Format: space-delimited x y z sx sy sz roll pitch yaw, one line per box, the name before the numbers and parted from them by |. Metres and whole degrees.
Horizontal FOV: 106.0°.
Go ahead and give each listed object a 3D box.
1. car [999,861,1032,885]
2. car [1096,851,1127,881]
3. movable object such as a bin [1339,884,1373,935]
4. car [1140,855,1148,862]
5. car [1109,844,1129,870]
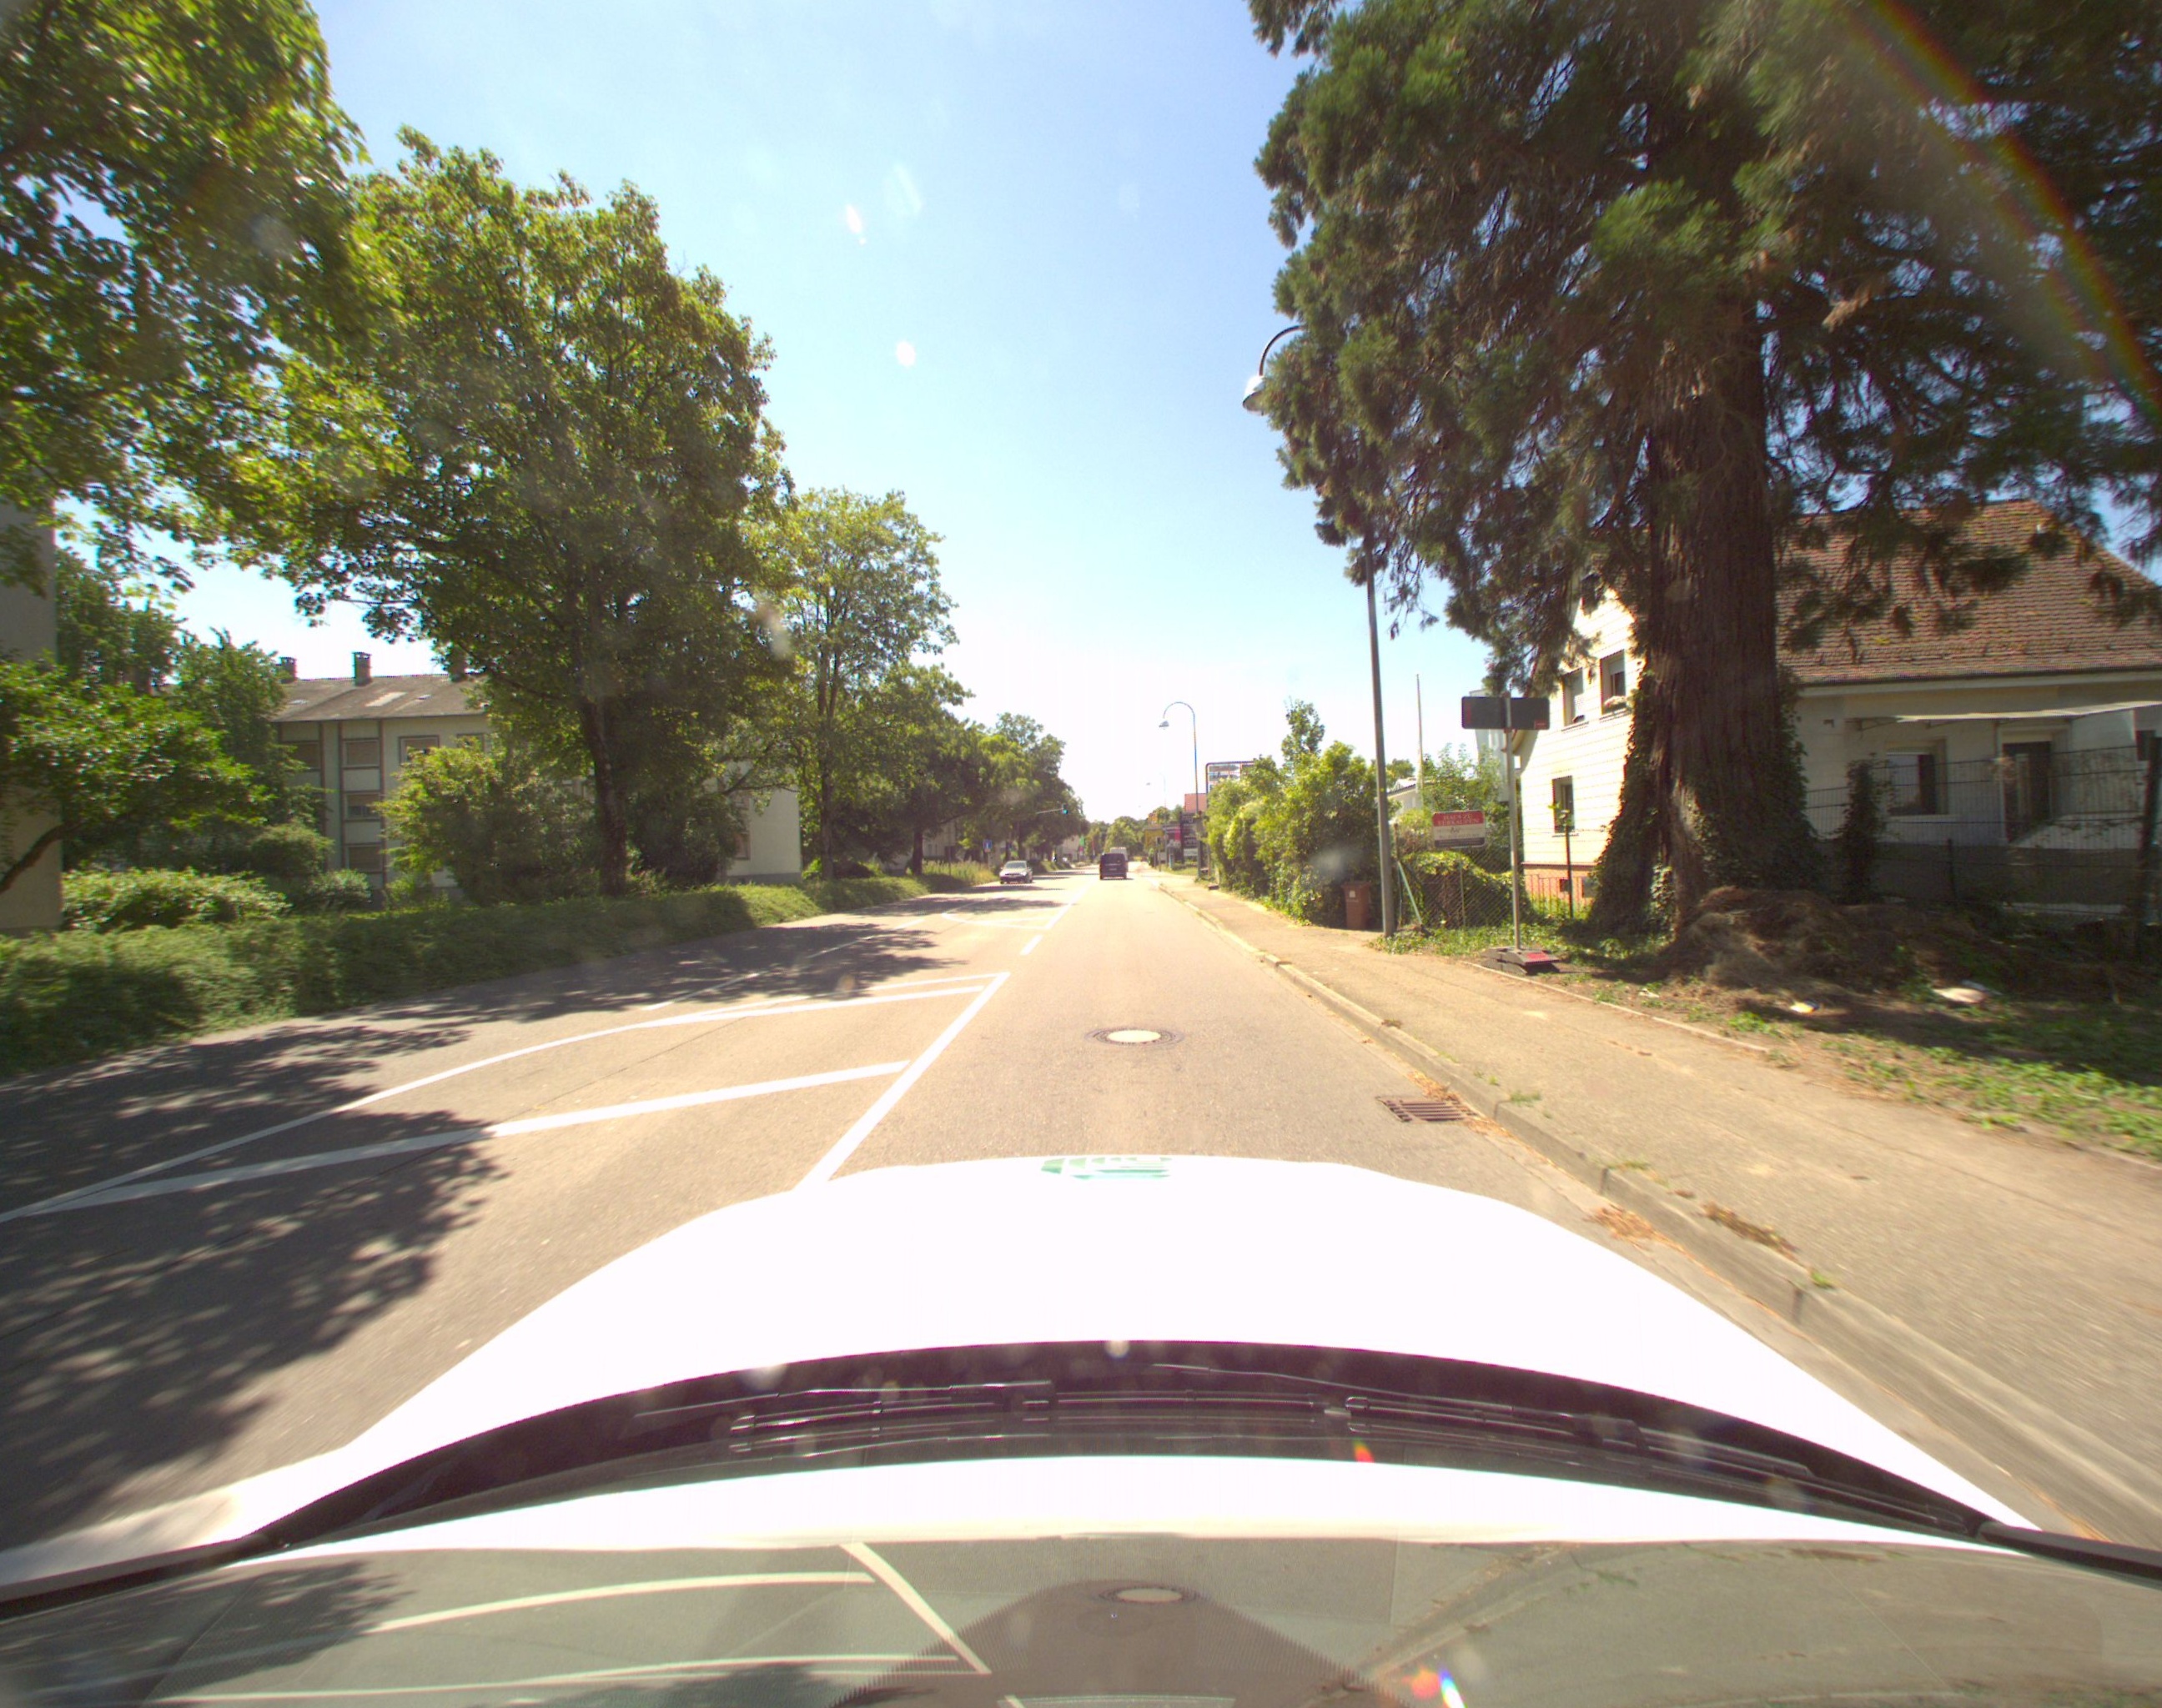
car | -4.166 1.208 52.451 1.716 1.427 4.148 0 0 1
car | 2.109 0.785 56.561 1.987 1.893 4.000 0 1 0
movable object such as a bin | 5.249 1.053 15.532 0.466 0.928 0.527 0 0 35
car | 17.528 1.233 226.371 1.847 1.643 4.010 0 1 9
car | 4.092 0.271 86.934 2.111 2.677 5.668 0 1 3
